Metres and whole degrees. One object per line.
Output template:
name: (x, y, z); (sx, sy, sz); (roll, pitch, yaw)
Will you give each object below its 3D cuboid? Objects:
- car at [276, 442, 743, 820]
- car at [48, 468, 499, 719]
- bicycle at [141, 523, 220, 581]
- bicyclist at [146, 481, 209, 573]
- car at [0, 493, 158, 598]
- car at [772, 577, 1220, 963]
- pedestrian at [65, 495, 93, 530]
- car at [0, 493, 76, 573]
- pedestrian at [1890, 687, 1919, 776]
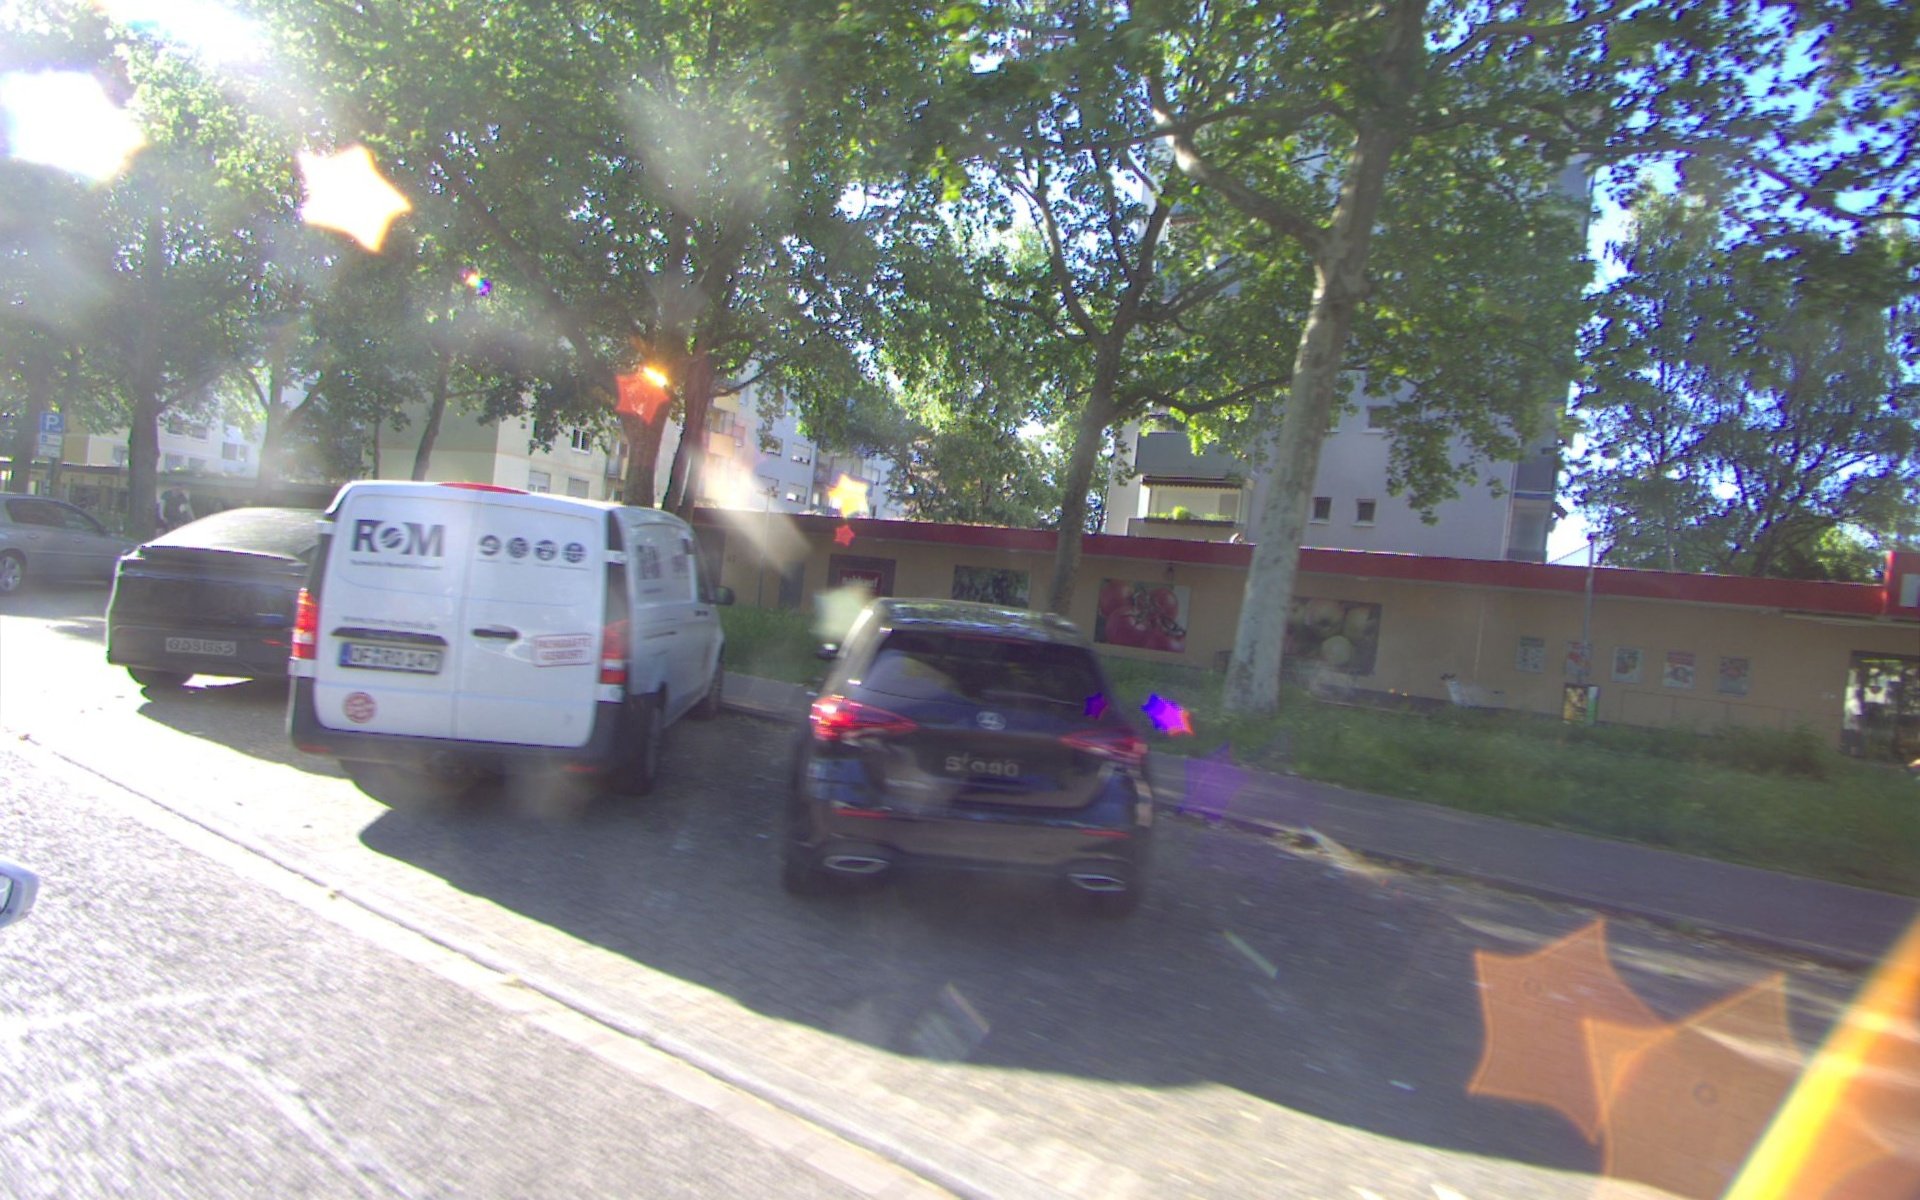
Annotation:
car: (-2.917, 0.155, 7.757); (1.798, 1.876, 4.664); (6, 0, -6)
car: (-6.186, -0.073, 9.832); (1.730, 1.727, 4.494); (6, 0, -8)
bicycle: (-15.729, -0.981, 20.290); (1.810, 0.979, 0.623); (6, 0, 33)
bicyclist: (-15.882, -1.454, 20.421); (1.007, 1.761, 0.623); (2, -2, 32)
car: (-14.436, -0.882, 15.274); (1.691, 1.431, 4.174); (6, 1, -11)
car: (0.024, 0.692, 6.231); (1.767, 1.448, 3.992); (6, 2, -4)
pedestrian: (-52.881, -5.250, 60.402); (0.856, 1.938, 0.875); (6, 1, 24)
car: (-17.489, -1.252, 17.305); (1.561, 1.390, 3.930); (6, 0, -11)
pedestrian: (19.238, 2.650, 20.070); (0.703, 1.721, 0.495); (7, 1, 27)
